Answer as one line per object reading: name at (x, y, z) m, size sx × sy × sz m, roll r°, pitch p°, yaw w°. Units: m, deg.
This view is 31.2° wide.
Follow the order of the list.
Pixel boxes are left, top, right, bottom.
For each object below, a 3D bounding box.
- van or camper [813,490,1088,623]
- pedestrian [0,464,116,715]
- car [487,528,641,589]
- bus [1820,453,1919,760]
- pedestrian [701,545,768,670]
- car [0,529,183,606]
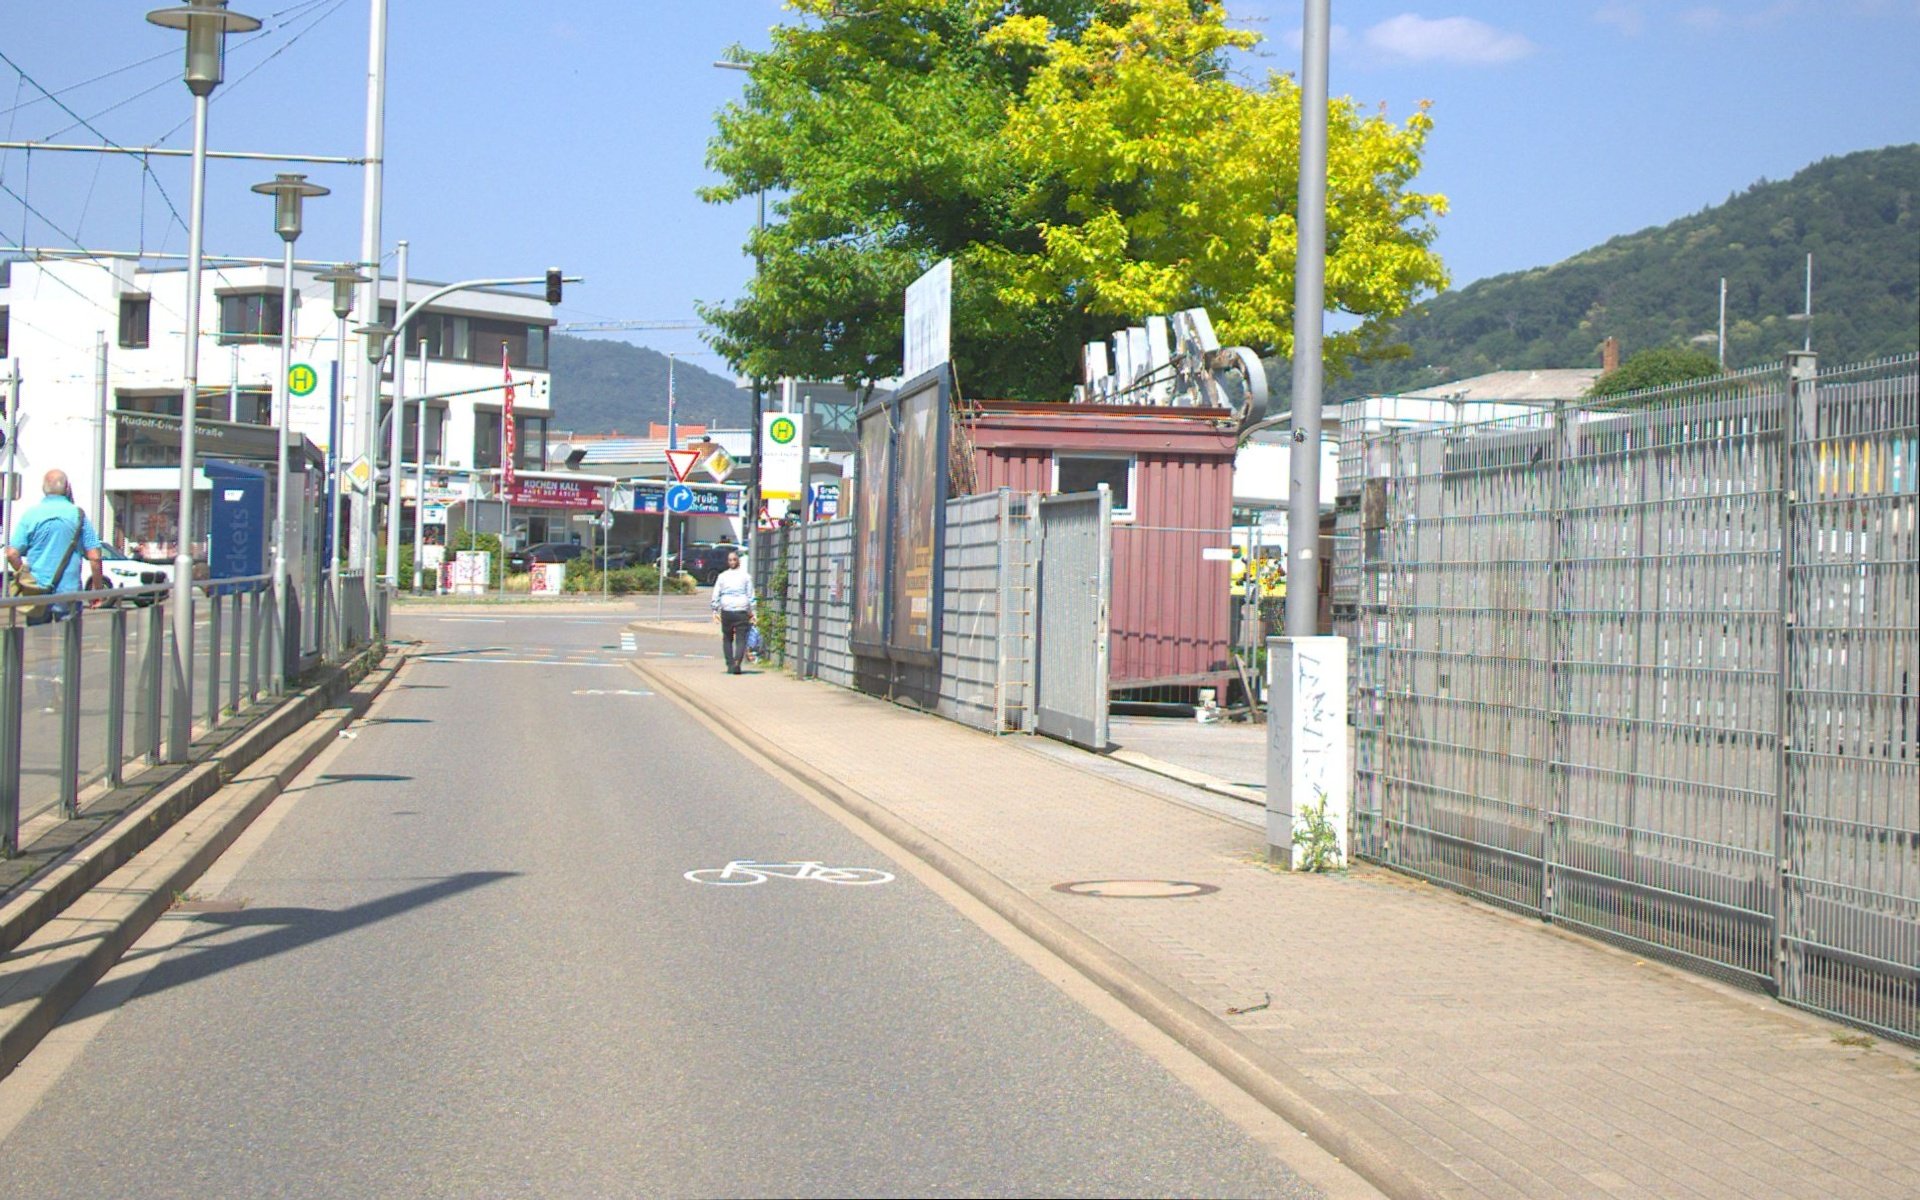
van or camper at (-0.243, -0.959, 75.200) m, size 5.810 × 2.764 × 2.091 m, roll 1°, pitch 1°, yaw -4°
pedestrian at (-6.444, -0.081, 24.376) m, size 0.723 × 1.719 × 0.945 m, roll 2°, pitch 1°, yaw -7°
car at (-13.524, -1.412, 117.658) m, size 1.964 × 1.959 × 5.268 m, roll 2°, pitch 1°, yaw 40°
bus at (11.419, 0.054, 33.119) m, size 2.565 × 3.161 × 10.270 m, roll 2°, pitch -1°, yaw -7°
pedestrian at (-3.103, 0.096, 47.192) m, size 0.812 × 1.693 × 0.887 m, roll 1°, pitch 1°, yaw -9°
car at (-20.556, -0.771, 80.026) m, size 4.556 × 1.727 × 1.997 m, roll 1°, pitch 1°, yaw 27°
